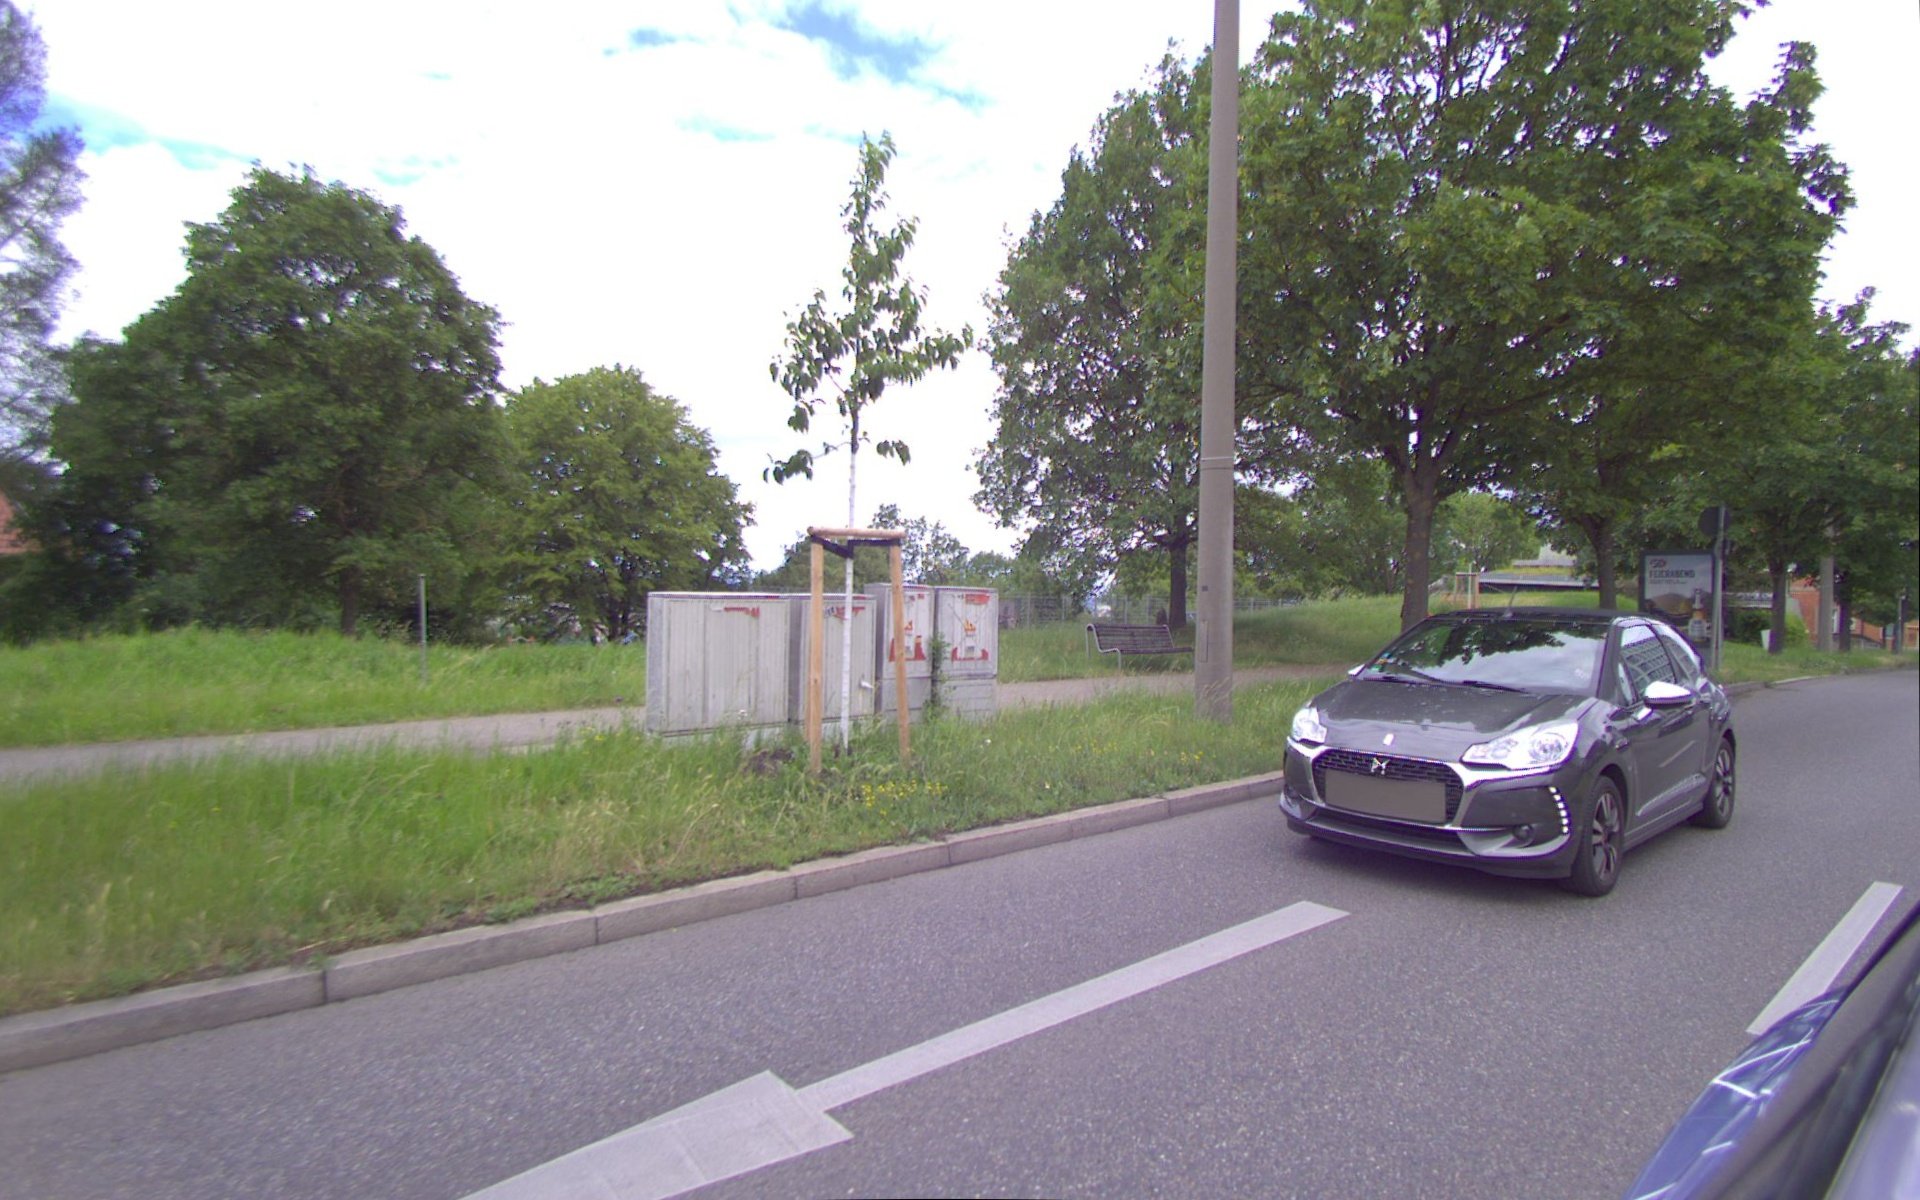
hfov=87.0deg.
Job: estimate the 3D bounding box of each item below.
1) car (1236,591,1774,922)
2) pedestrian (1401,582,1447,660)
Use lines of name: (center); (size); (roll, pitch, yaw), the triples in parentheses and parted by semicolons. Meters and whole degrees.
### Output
car: (3.660, 0.724, 6.484); (3.990, 1.479, 1.704); (1, -1, -40)
pedestrian: (10.064, 0.445, 21.952); (0.690, 1.623, 0.542); (2, 4, -40)
